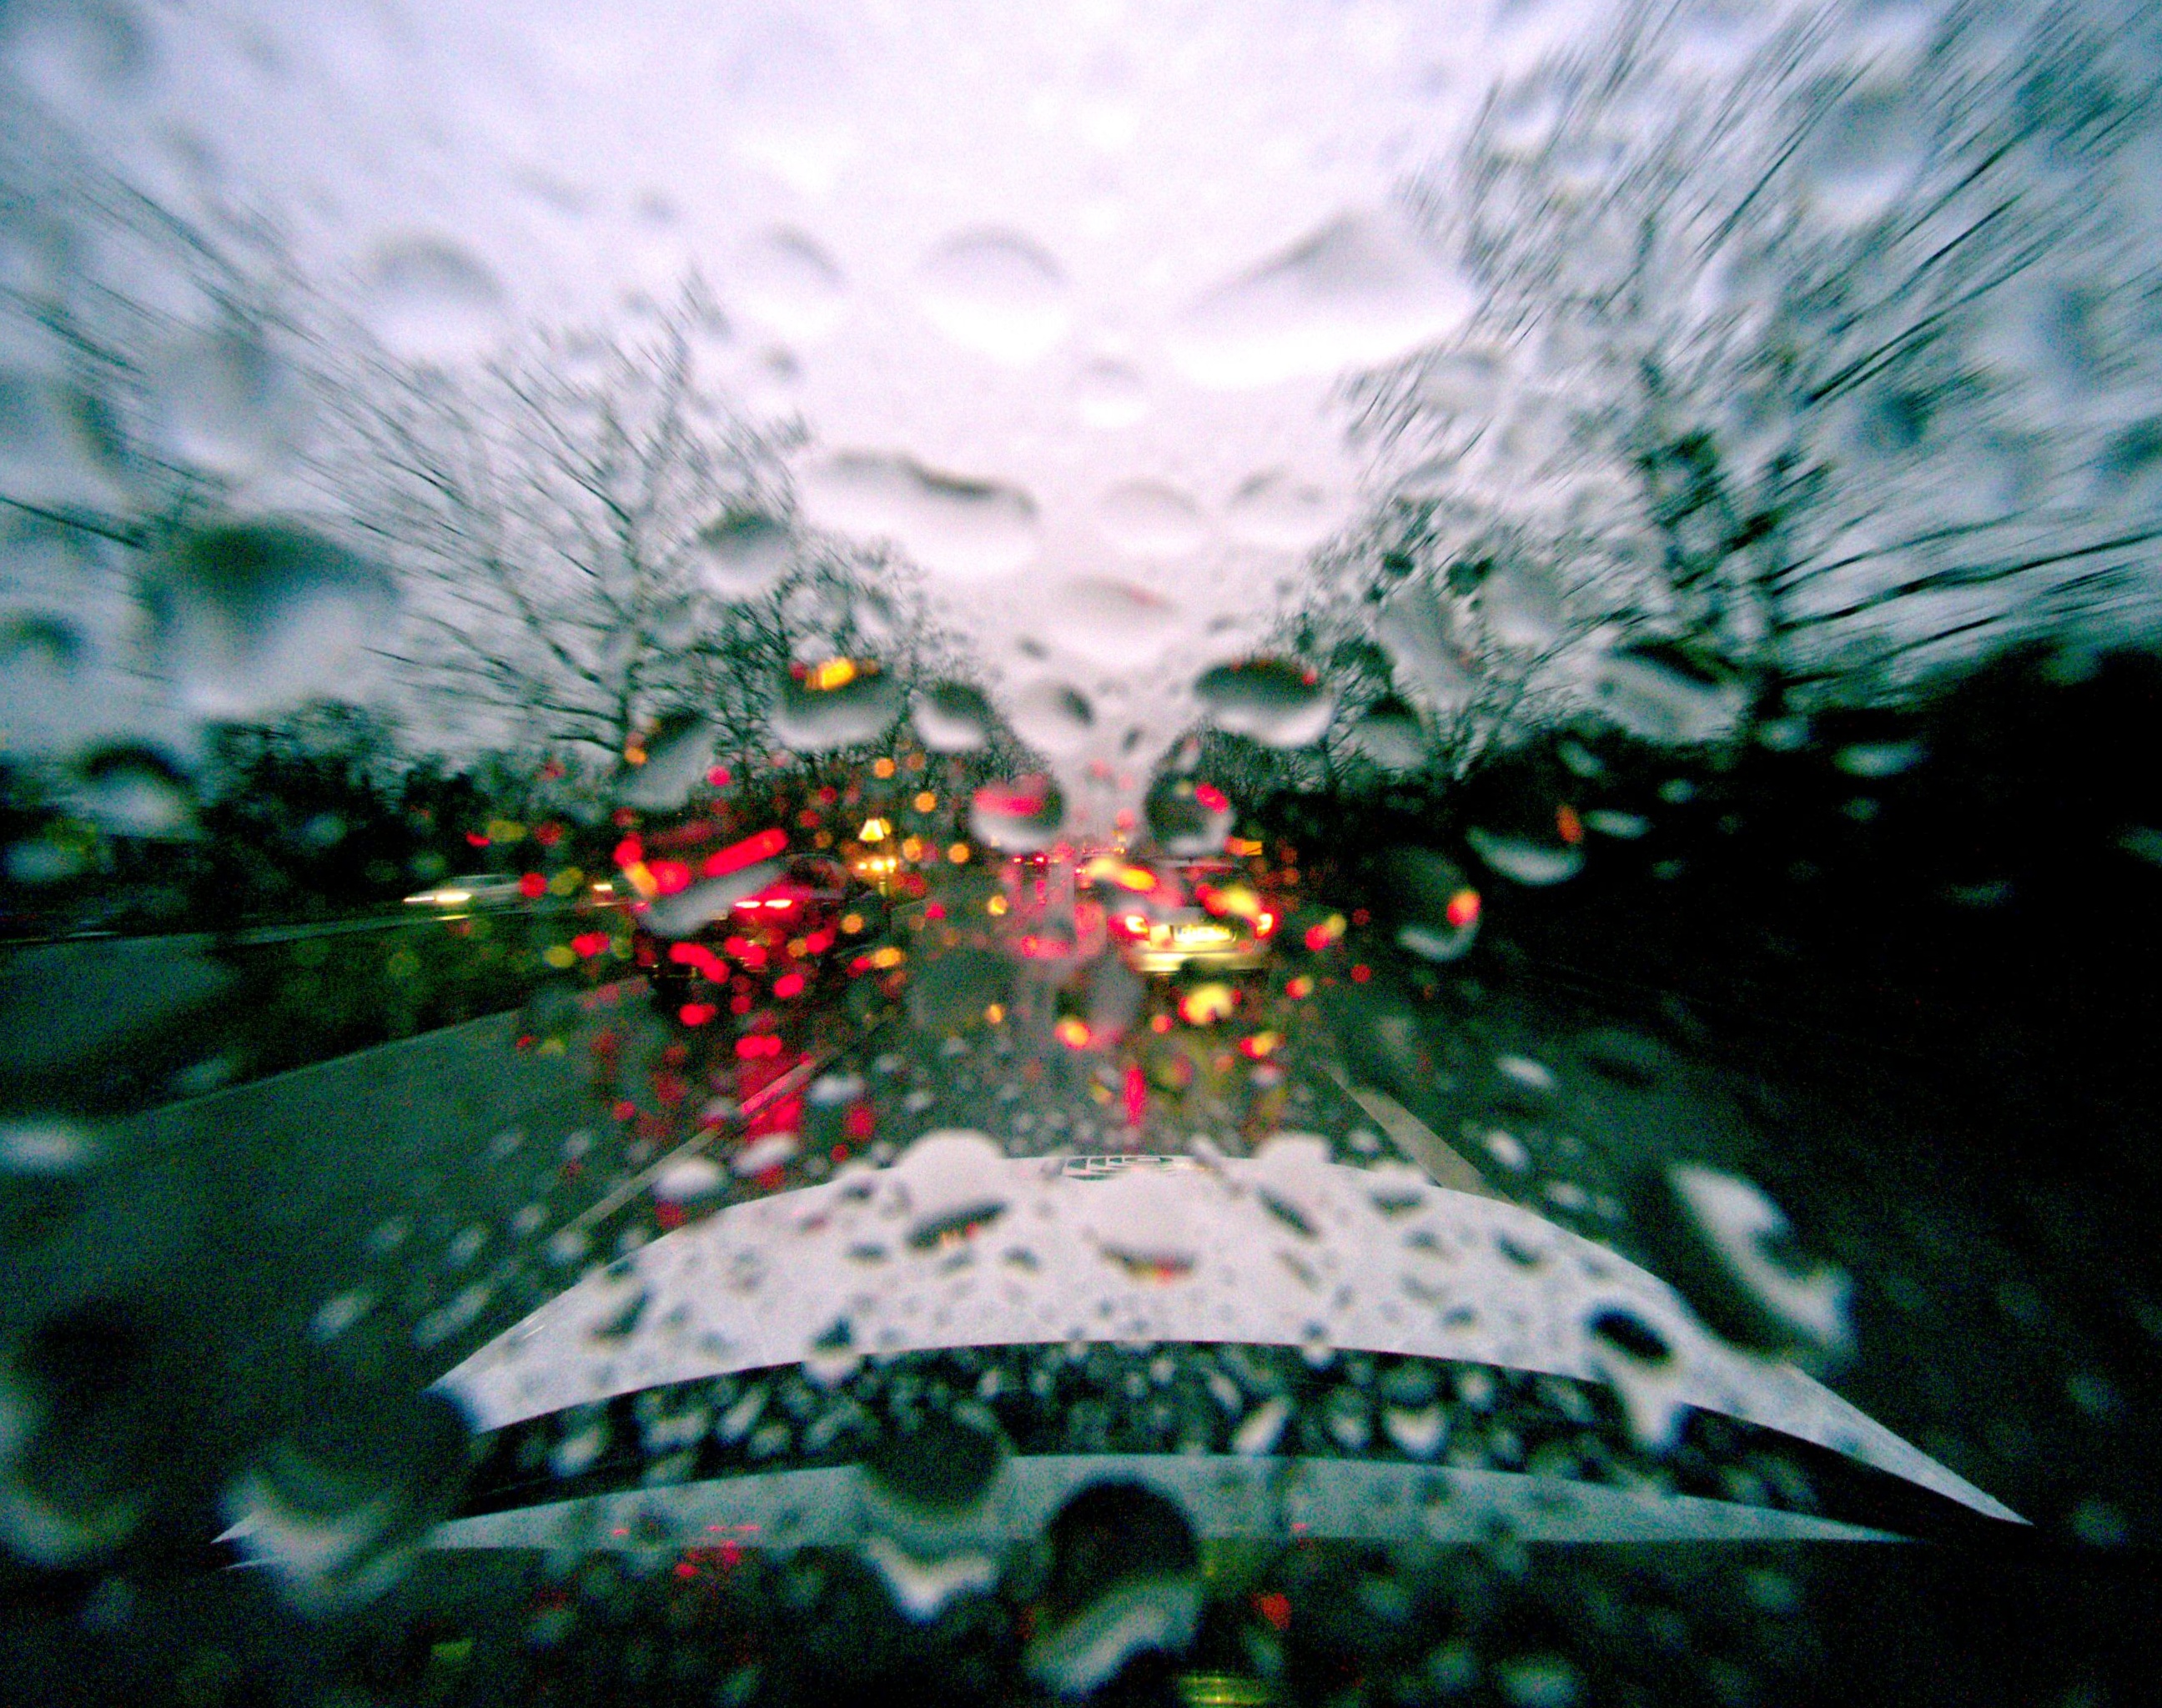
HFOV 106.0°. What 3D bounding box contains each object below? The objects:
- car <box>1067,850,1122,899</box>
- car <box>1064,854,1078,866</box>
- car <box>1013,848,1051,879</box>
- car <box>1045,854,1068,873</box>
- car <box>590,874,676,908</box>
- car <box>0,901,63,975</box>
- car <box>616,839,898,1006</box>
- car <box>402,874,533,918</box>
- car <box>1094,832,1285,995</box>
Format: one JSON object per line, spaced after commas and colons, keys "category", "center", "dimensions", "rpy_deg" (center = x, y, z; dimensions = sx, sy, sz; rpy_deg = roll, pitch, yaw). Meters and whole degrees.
{"category": "car", "center": [0.534, 0.723, 29.483], "dimensions": [1.815, 1.648, 4.468], "rpy_deg": [0, -1, 2]}
{"category": "car", "center": [-1.170, 0.747, 96.739], "dimensions": [1.499, 1.339, 4.001], "rpy_deg": [-2, -1, 2]}
{"category": "car", "center": [-2.842, 0.560, 47.703], "dimensions": [1.815, 1.648, 4.001], "rpy_deg": [-2, -1, 2]}
{"category": "car", "center": [-2.238, 0.907, 75.378], "dimensions": [1.815, 1.648, 4.002], "rpy_deg": [-2, -1, 2]}
{"category": "car", "center": [-19.769, 1.616, 36.155], "dimensions": [1.633, 1.339, 3.998], "rpy_deg": [0, 0, -1]}
{"category": "car", "center": [-20.621, 1.568, 13.599], "dimensions": [1.745, 1.308, 4.316], "rpy_deg": [-1, 0, 1]}
{"category": "car", "center": [-3.818, 0.727, 10.562], "dimensions": [1.816, 1.648, 4.466], "rpy_deg": [-2, -1, 0]}
{"category": "car", "center": [-23.598, 1.576, 31.543], "dimensions": [1.744, 1.482, 4.200], "rpy_deg": [-1, 0, 3]}
{"category": "car", "center": [1.172, 0.650, 10.491], "dimensions": [1.926, 1.648, 4.468], "rpy_deg": [0, -1, 2]}
